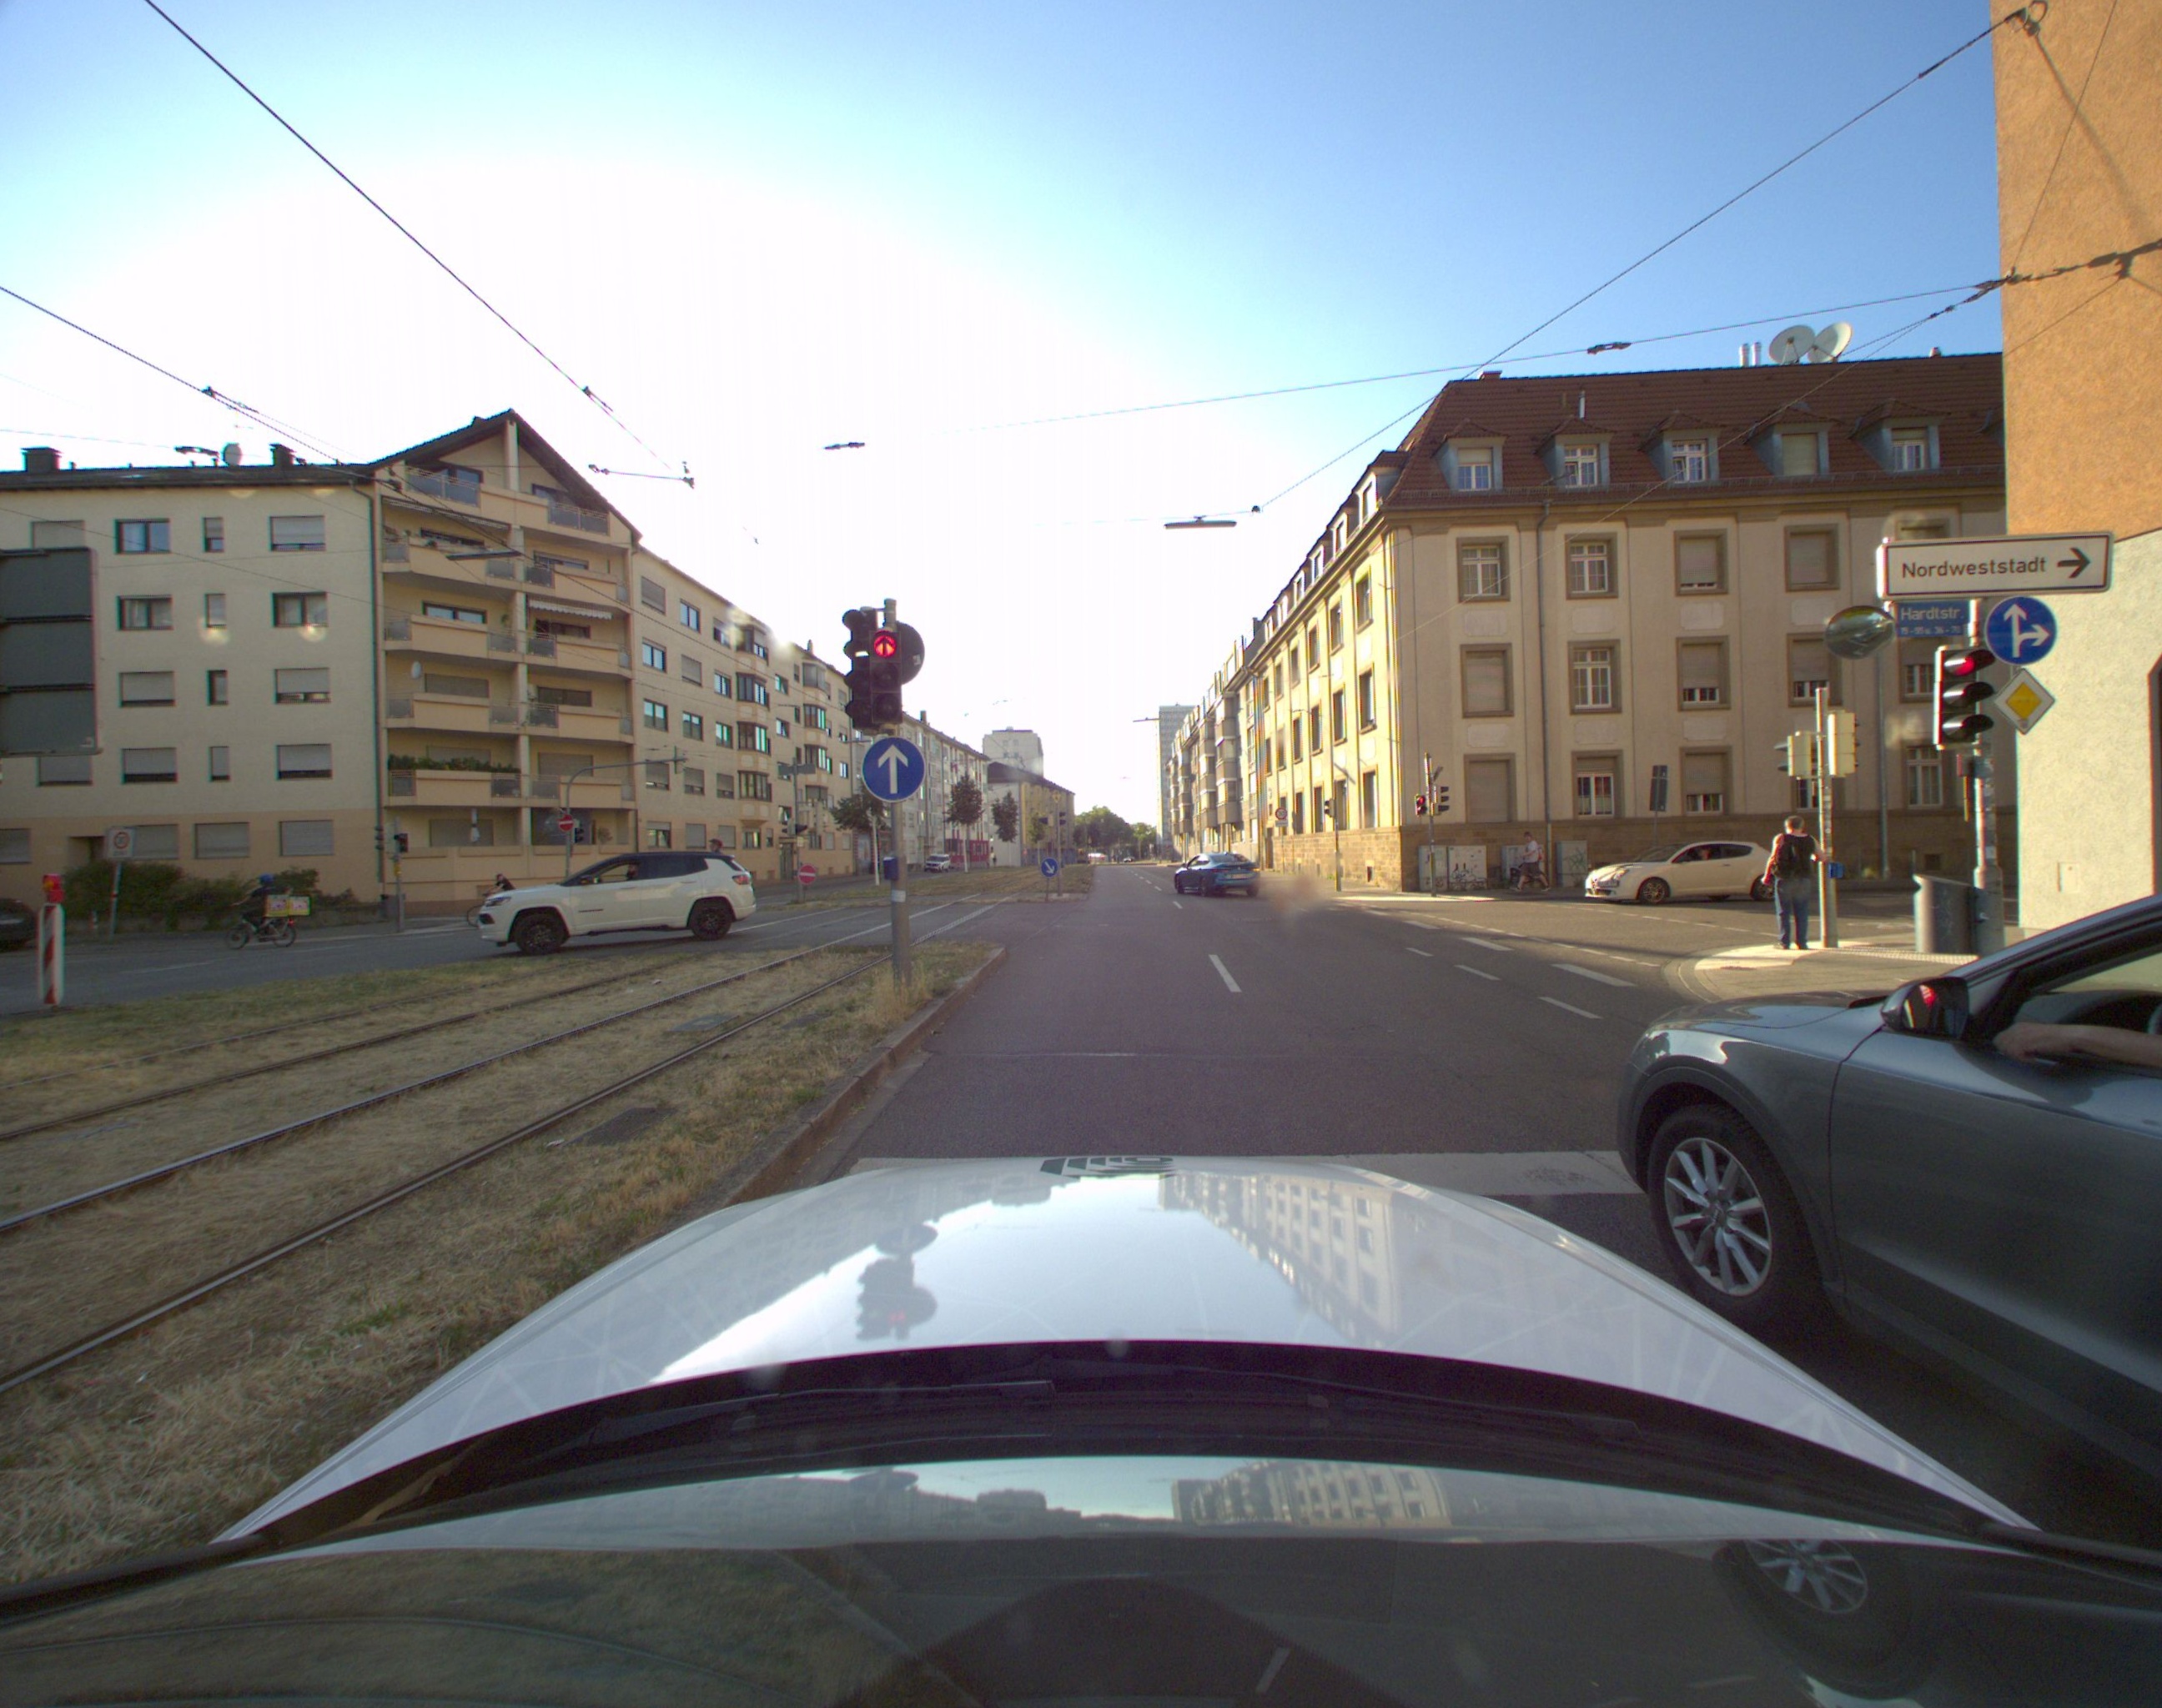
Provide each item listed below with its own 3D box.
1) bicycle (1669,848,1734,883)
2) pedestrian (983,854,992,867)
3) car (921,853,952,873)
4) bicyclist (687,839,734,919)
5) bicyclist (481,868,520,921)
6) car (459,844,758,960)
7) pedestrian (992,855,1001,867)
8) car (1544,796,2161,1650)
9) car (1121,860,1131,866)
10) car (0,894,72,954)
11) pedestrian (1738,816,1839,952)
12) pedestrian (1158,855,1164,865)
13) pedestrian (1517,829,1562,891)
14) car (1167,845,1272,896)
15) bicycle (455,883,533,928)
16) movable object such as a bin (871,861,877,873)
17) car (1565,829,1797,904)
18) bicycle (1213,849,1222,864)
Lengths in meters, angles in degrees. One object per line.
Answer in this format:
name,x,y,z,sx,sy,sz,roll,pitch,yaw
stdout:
bicycle,18.074,0.332,23.740,1.491,1.018,0.251,-1,-1,17
pedestrian,-13.016,0.911,113.690,0.957,1.694,1.013,0,-1,7
car,-14.534,0.886,82.113,1.984,1.925,4.548,0,-1,5
bicyclist,-8.942,0.587,19.690,0.806,1.882,0.651,-2,2,-10
bicyclist,-18.147,1.246,25.455,0.620,1.586,0.814,-1,0,35
car,-8.341,0.765,14.855,4.402,1.734,1.983,-2,0,-26
pedestrian,-11.837,0.960,114.366,0.957,1.670,1.013,0,-1,7
car,2.811,0.671,1.449,1.691,1.552,4.227,0,0,2
car,12.082,2.381,217.560,1.885,1.633,4.761,-2,0,10
car,-30.074,1.928,21.495,3.983,1.442,1.996,-2,2,-7
pedestrian,9.462,0.388,10.922,0.627,1.758,0.826,0,-1,1
pedestrian,10.091,0.743,102.402,0.688,1.234,0.737,0,-1,2
pedestrian,13.167,0.167,23.399,0.832,1.762,0.824,0,-1,1
car,4.530,0.528,27.324,1.995,1.554,4.375,0,-1,-12
bicycle,-18.223,1.573,25.317,0.450,1.257,1.883,-1,1,34
movable object such as a bin,-17.530,1.101,68.962,0.297,1.036,0.442,0,-1,4
car,14.098,0.297,19.360,3.969,1.564,2.002,-2,-1,3
bicycle,10.379,0.223,61.851,0.382,1.096,1.503,-2,-1,0
